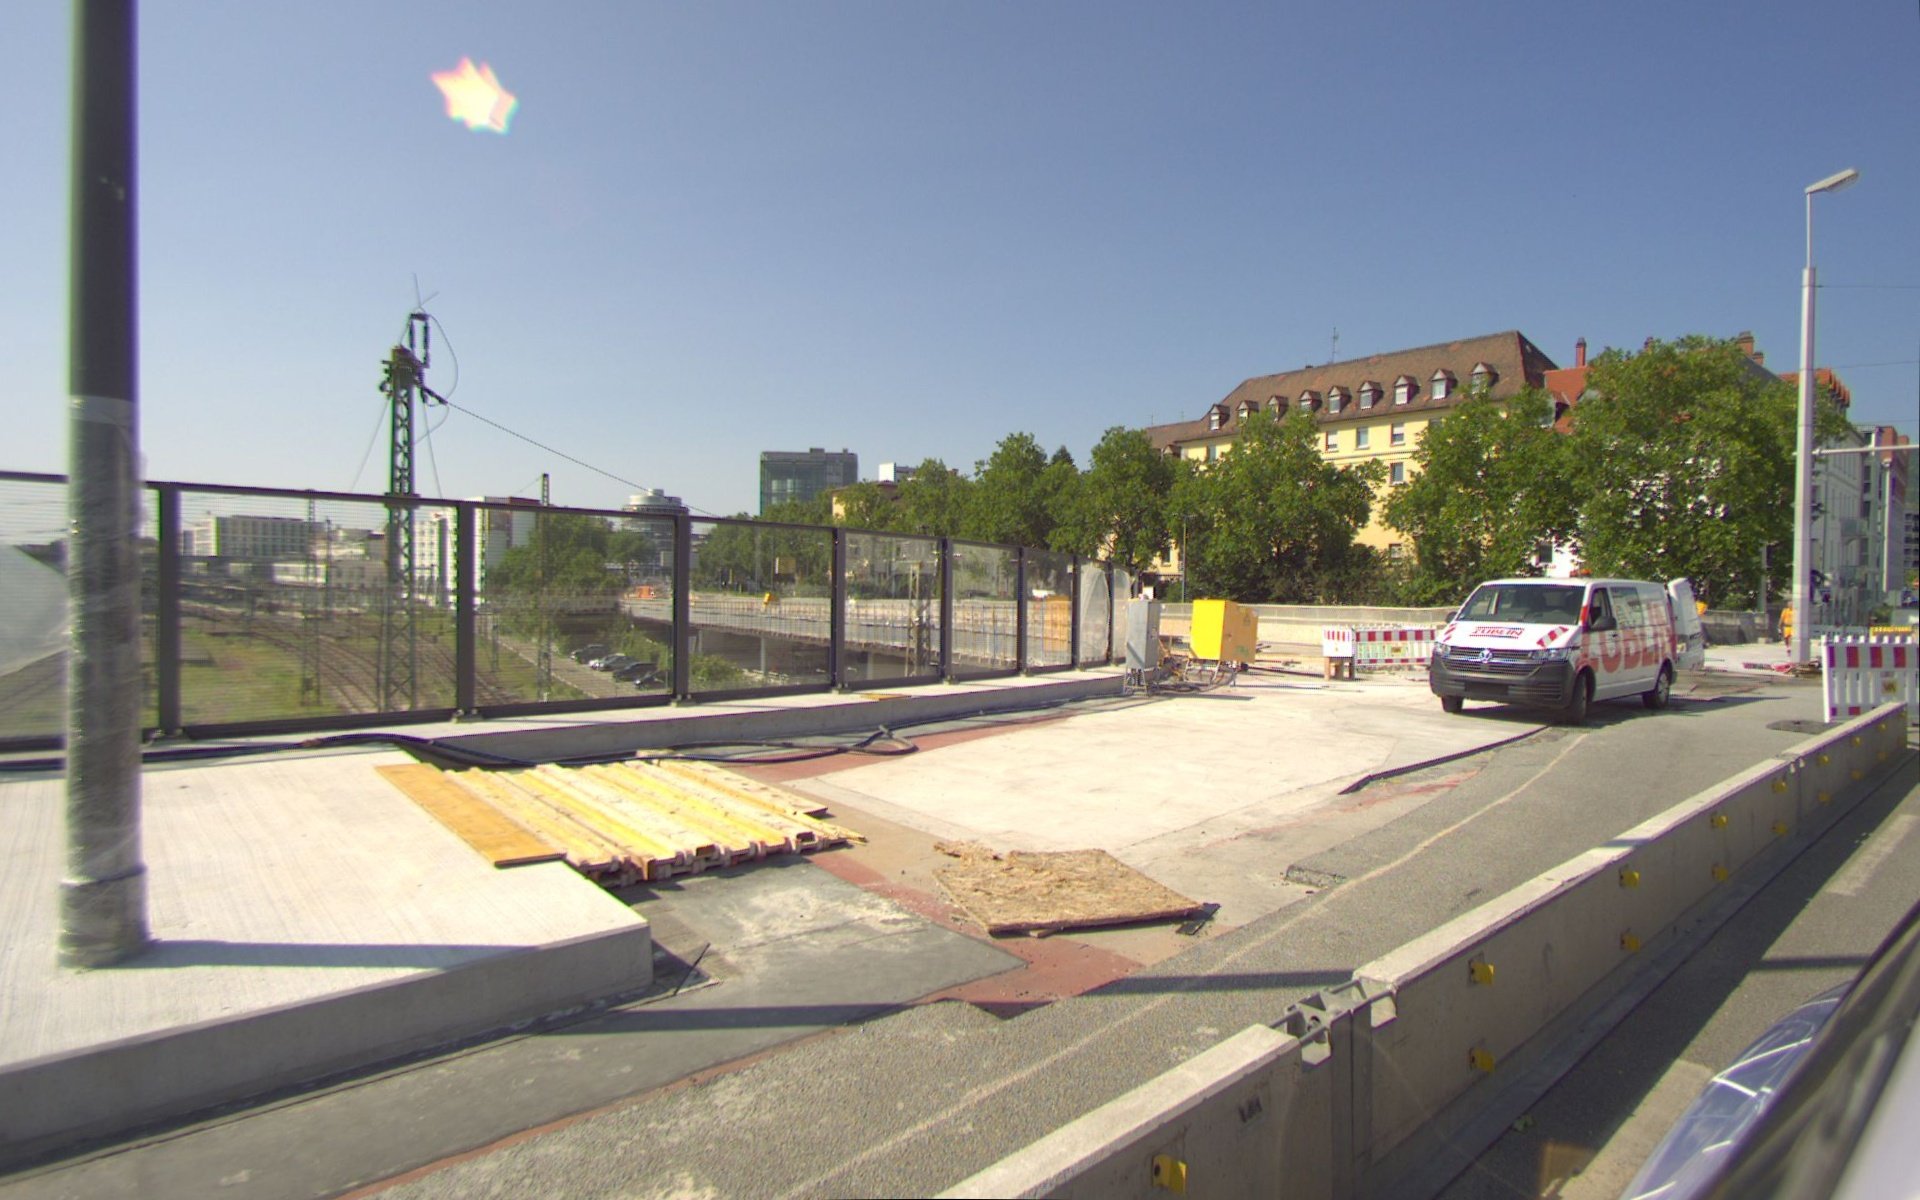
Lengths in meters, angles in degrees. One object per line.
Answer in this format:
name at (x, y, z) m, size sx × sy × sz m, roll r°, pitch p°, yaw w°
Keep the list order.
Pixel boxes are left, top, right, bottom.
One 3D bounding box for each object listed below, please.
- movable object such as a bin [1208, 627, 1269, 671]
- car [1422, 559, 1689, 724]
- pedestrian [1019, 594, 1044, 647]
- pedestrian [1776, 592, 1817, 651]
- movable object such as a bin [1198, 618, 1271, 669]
movable object such as a bin at (6.178, 1.079, 22.488) m, size 1.083 × 0.853 × 0.757 m, roll 4°, pitch 0°, yaw -1°
car at (8.863, 0.520, 14.881) m, size 4.803 × 2.059 × 1.882 m, roll 0°, pitch 0°, yaw -40°
pedestrian at (3.294, 0.961, 46.594) m, size 0.867 × 2.363 × 0.792 m, roll -4°, pitch -3°, yaw 24°
pedestrian at (27.062, 0.685, 32.740) m, size 0.849 × 1.817 × 0.821 m, roll 1°, pitch 2°, yaw -42°
movable object such as a bin at (6.500, 1.043, 24.078) m, size 0.595 × 1.144 × 2.045 m, roll -2°, pitch -2°, yaw -18°
